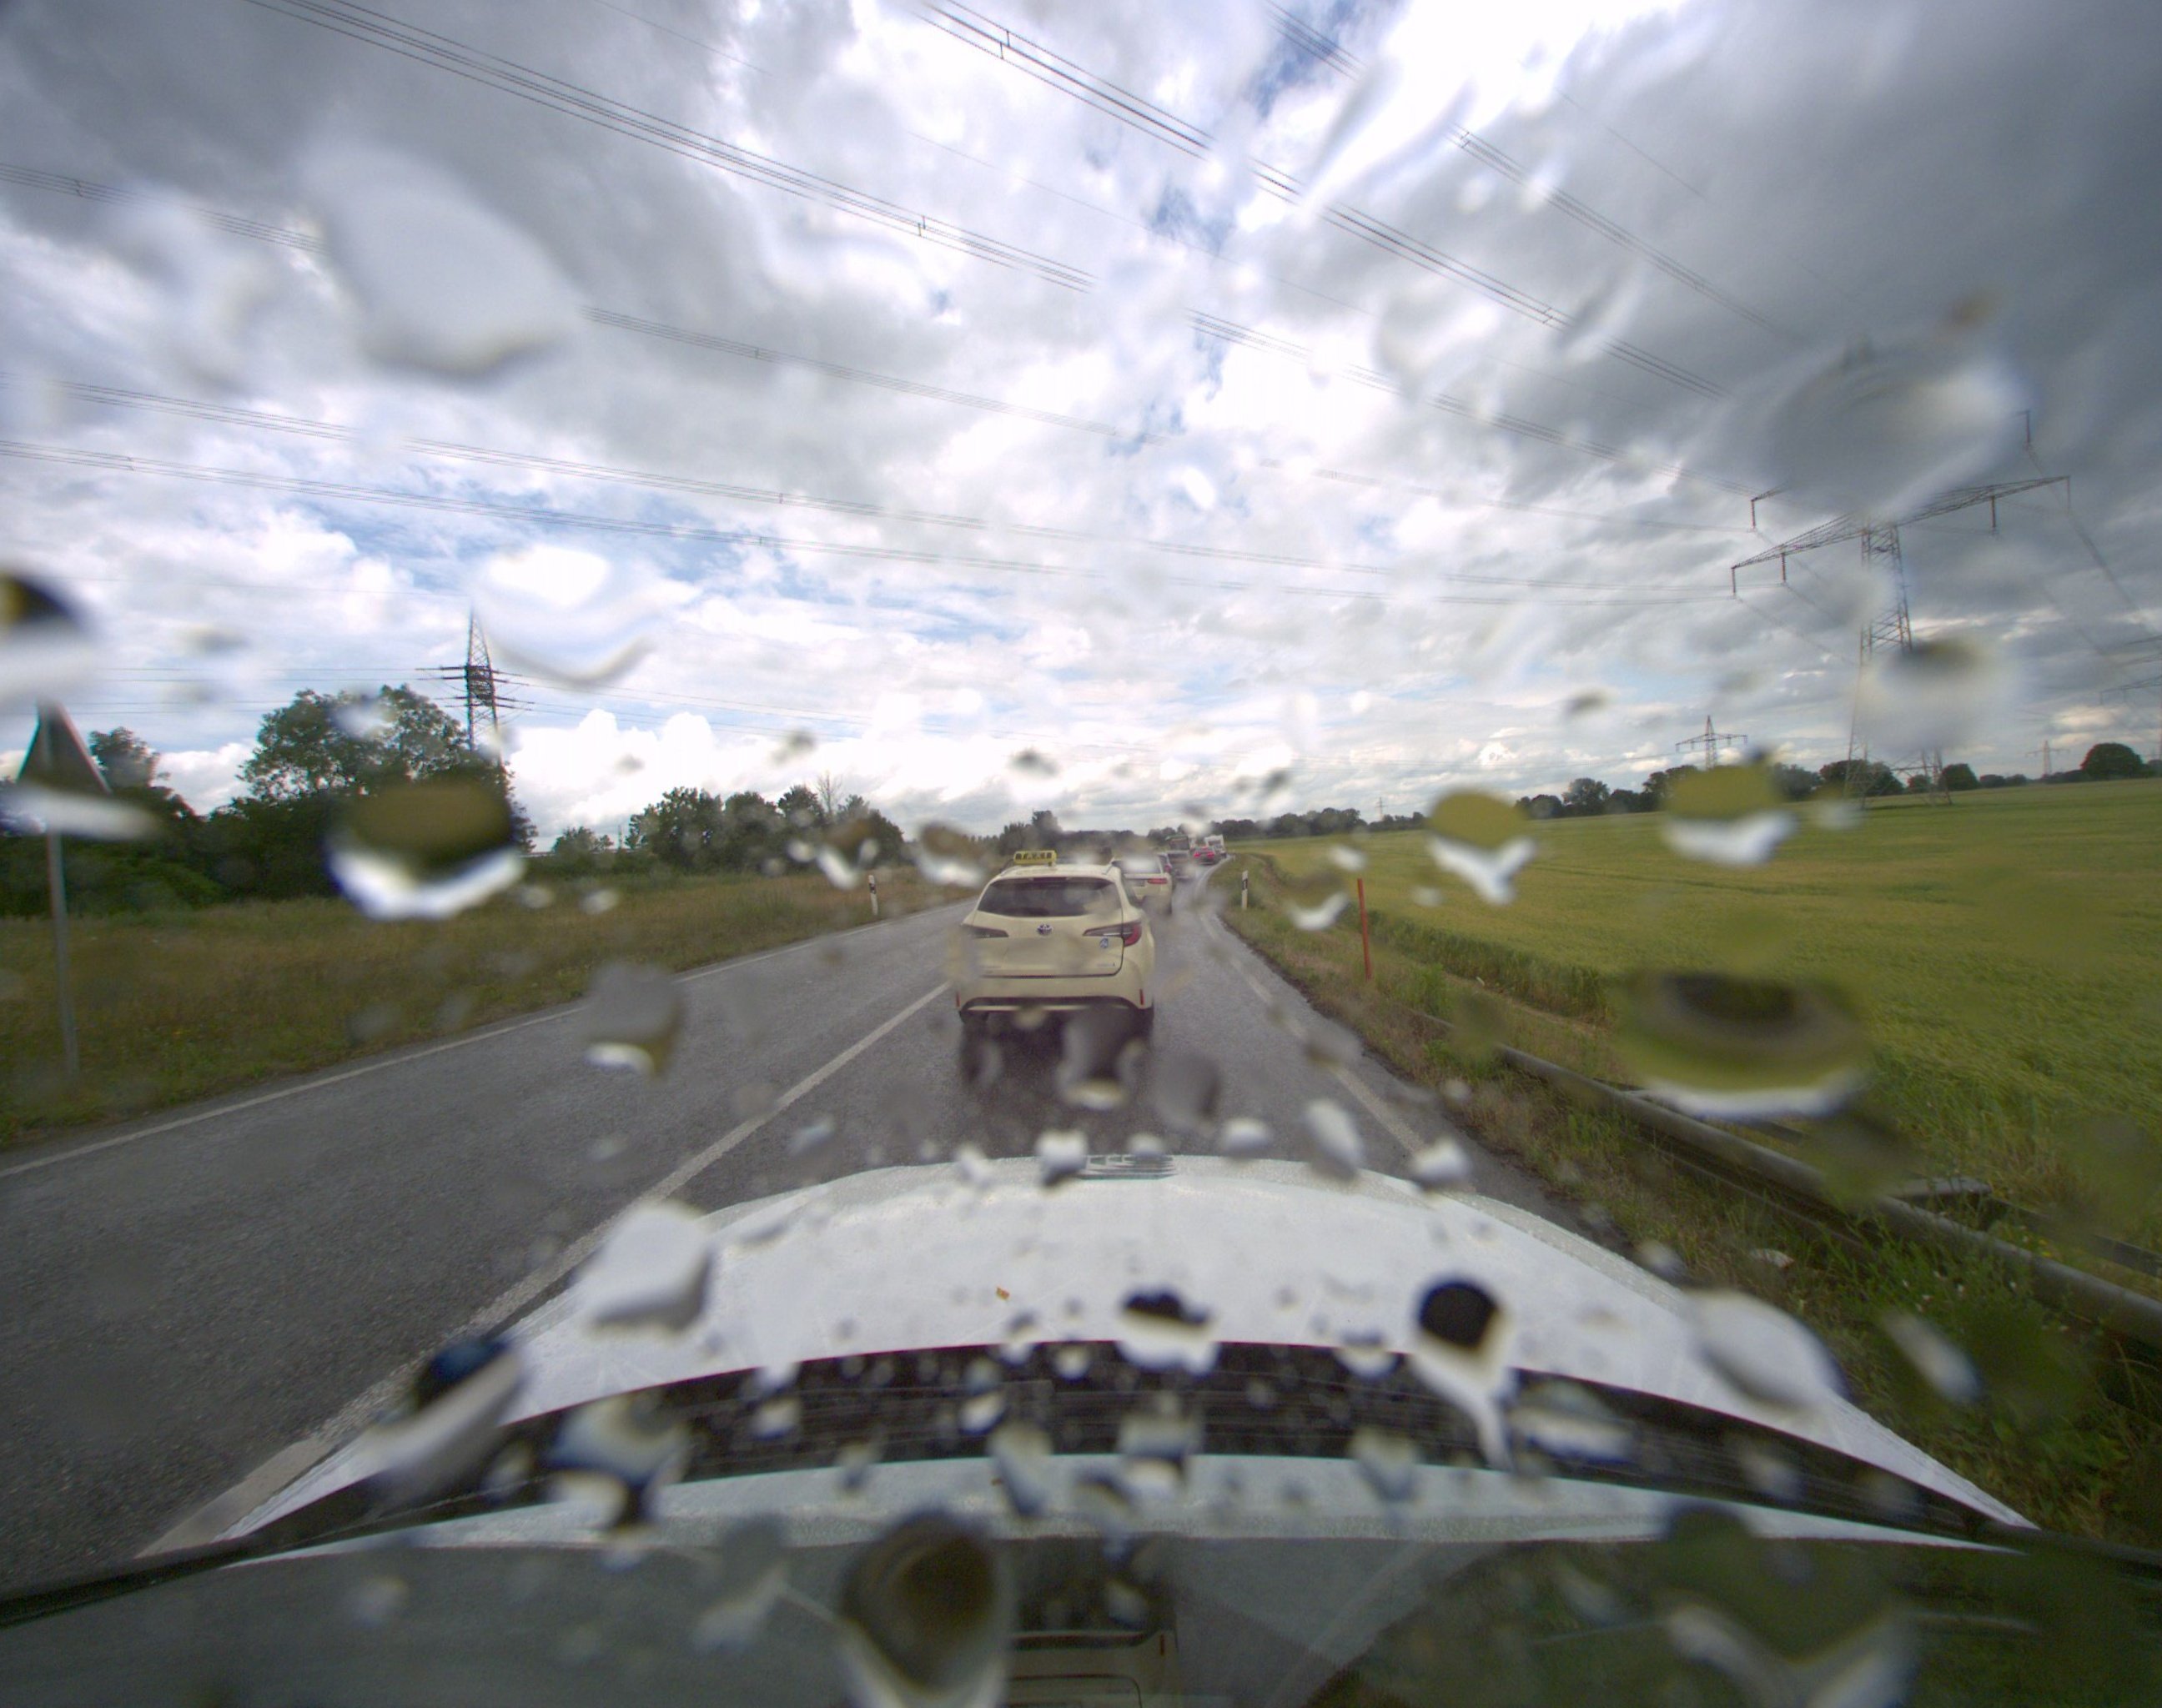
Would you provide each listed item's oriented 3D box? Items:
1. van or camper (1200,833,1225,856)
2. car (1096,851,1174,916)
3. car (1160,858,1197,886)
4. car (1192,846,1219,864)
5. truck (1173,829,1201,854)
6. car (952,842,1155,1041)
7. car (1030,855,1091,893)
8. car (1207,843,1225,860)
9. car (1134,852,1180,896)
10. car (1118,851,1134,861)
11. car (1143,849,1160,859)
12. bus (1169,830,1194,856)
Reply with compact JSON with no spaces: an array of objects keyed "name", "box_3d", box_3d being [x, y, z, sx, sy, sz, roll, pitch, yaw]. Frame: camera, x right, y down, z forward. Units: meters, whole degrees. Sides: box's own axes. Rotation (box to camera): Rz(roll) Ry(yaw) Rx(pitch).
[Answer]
[{"name":"van or camper","box_3d":[16.914,-1.210,105.139,2.525,2.896,6.750,-1,0,4]},{"name":"car","box_3d":[1.540,0.698,21.596,1.832,1.492,4.616,-1,0,6]},{"name":"car","box_3d":[5.159,0.918,42.757,1.602,1.413,3.750,-1,-1,12]},{"name":"car","box_3d":[10.401,0.074,67.748,1.947,1.413,4.407,-1,-1,12]},{"name":"truck","box_3d":[17.249,-1.916,133.057,3.121,3.852,7.374,-1,-1,-4]},{"name":"car","box_3d":[-0.065,0.721,8.320,1.605,1.562,3.743,-1,-1,5]},{"name":"car","box_3d":[-0.740,0.789,32.682,1.620,1.397,4.331,-1,-1,10]},{"name":"car","box_3d":[14.845,-0.239,89.442,1.948,1.729,3.748,-1,-1,10]},{"name":"car","box_3d":[3.098,0.778,32.594,1.603,1.659,3.747,-1,-1,9]},{"name":"car","box_3d":[9.354,0.449,169.181,1.847,1.859,4.059,0,-1,-21]},{"name":"car","box_3d":[13.255,-0.033,153.312,1.887,1.773,4.136,0,-1,-17]},{"name":"bus","box_3d":[13.614,-1.451,110.719,2.745,3.297,12.517,-1,0,4]}]
